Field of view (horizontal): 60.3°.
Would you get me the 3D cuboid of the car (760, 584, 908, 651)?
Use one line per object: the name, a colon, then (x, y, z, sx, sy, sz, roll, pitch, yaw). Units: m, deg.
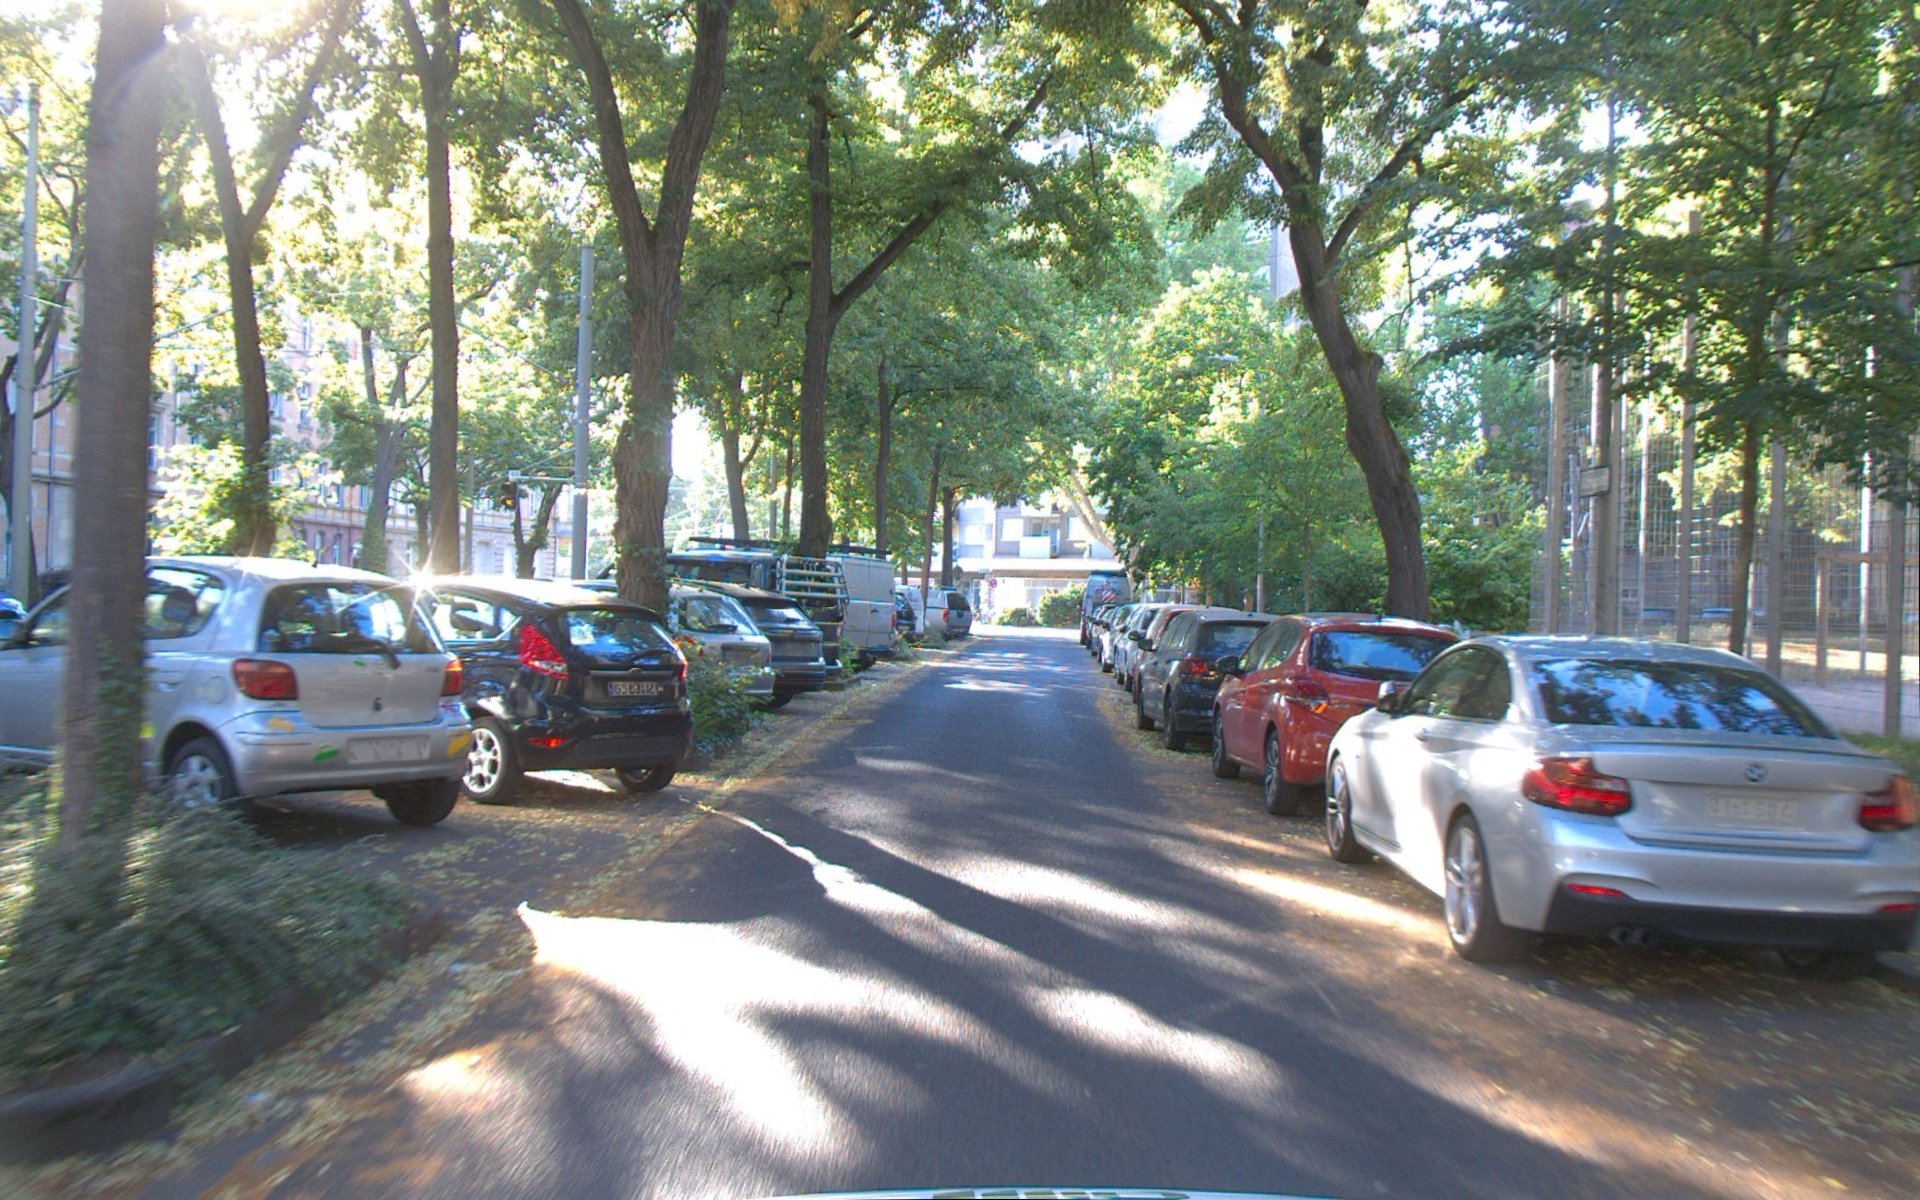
car: (-3.291, 0.453, 43.042, 3.357, 1.450, 1.828, 4, 0, 33)

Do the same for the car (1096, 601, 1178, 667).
car: (4.218, 0.779, 39.969, 1.645, 1.449, 4.660, 2, 0, 3)

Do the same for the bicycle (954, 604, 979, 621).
bicycle: (0.400, 0.780, 104.413, 0.632, 1.040, 2.066, 1, 0, -31)

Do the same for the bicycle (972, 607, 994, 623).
bicycle: (1.426, 0.933, 102.788, 0.537, 0.920, 1.717, 1, 0, -32)

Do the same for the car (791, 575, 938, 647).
car: (-2.850, 0.315, 48.990, 4.082, 1.812, 1.875, 4, 0, 39)

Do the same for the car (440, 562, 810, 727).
car: (-3.900, 0.475, 19.068, 4.009, 1.514, 1.779, 4, 0, 33)

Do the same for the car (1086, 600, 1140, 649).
car: (5.198, 0.808, 56.630, 1.645, 1.552, 4.491, 2, 0, 3)

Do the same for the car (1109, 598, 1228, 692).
car: (3.576, 0.735, 28.987, 1.645, 1.479, 4.077, 2, 0, 2)

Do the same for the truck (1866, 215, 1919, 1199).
truck: (3.224, 0.398, 0.313, 2.249, 2.428, 6.933, 2, 0, 0)

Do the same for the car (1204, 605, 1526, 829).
car: (3.073, 0.807, 13.326, 1.638, 1.479, 3.949, 2, 0, 1)

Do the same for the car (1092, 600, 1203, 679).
car: (3.786, 0.759, 33.960, 1.647, 1.479, 4.074, 2, 0, -2)

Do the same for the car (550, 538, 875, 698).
car: (-3.725, 0.239, 24.523, 4.619, 1.976, 1.928, 4, 0, 35)

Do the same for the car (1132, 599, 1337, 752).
car: (2.937, 0.756, 18.447, 1.638, 1.479, 3.949, 2, 0, 1)

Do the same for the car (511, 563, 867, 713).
car: (-3.615, 0.458, 21.756, 4.480, 1.567, 1.928, 4, 0, 35)

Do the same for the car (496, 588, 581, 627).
car: (-18.969, 0.345, 74.413, 3.573, 1.668, 1.657, 1, 0, 32)

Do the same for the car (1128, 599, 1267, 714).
car: (3.338, 0.748, 23.756, 1.558, 1.479, 3.555, 2, 0, 2)

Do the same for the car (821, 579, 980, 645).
car: (-1.980, 0.387, 54.873, 4.895, 1.812, 1.983, 4, 0, 30)

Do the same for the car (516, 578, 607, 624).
car: (-18.717, 0.045, 77.673, 3.917, 2.049, 1.994, 1, 0, 34)

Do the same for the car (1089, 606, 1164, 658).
car: (4.458, 0.833, 44.847, 1.646, 1.305, 4.288, 2, 0, 1)

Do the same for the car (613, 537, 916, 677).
car: (-3.703, 0.106, 30.875, 5.399, 2.174, 2.076, 4, 0, 32)

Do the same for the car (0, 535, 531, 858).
car: (-4.565, 0.465, 10.022, 3.475, 1.519, 1.821, 4, 0, 31)

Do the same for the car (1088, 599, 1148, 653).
car: (4.873, 0.769, 51.343, 1.645, 1.552, 4.289, 2, 0, 3)

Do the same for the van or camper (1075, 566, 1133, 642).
van or camper: (5.626, 0.160, 65.264, 2.040, 2.810, 5.847, 2, 0, 3)

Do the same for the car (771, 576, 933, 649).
car: (-3.000, 0.347, 45.770, 4.076, 1.672, 1.909, 4, 0, 34)

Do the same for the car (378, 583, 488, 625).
car: (-18.959, 0.138, 59.514, 3.655, 1.405, 1.705, 1, 0, 28)

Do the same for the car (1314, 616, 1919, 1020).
car: (3.057, 0.848, 8.428, 1.638, 1.422, 4.300, 3, 0, 2)

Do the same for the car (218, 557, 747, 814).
car: (-3.626, 0.551, 12.354, 3.749, 1.464, 1.818, 4, 0, 36)

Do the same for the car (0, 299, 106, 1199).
car: (-4.316, 0.267, 3.609, 4.782, 2.012, 2.041, 4, 0, 31)

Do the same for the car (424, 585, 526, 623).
car: (-19.077, 0.168, 65.056, 3.654, 1.405, 1.725, 1, 0, 27)
